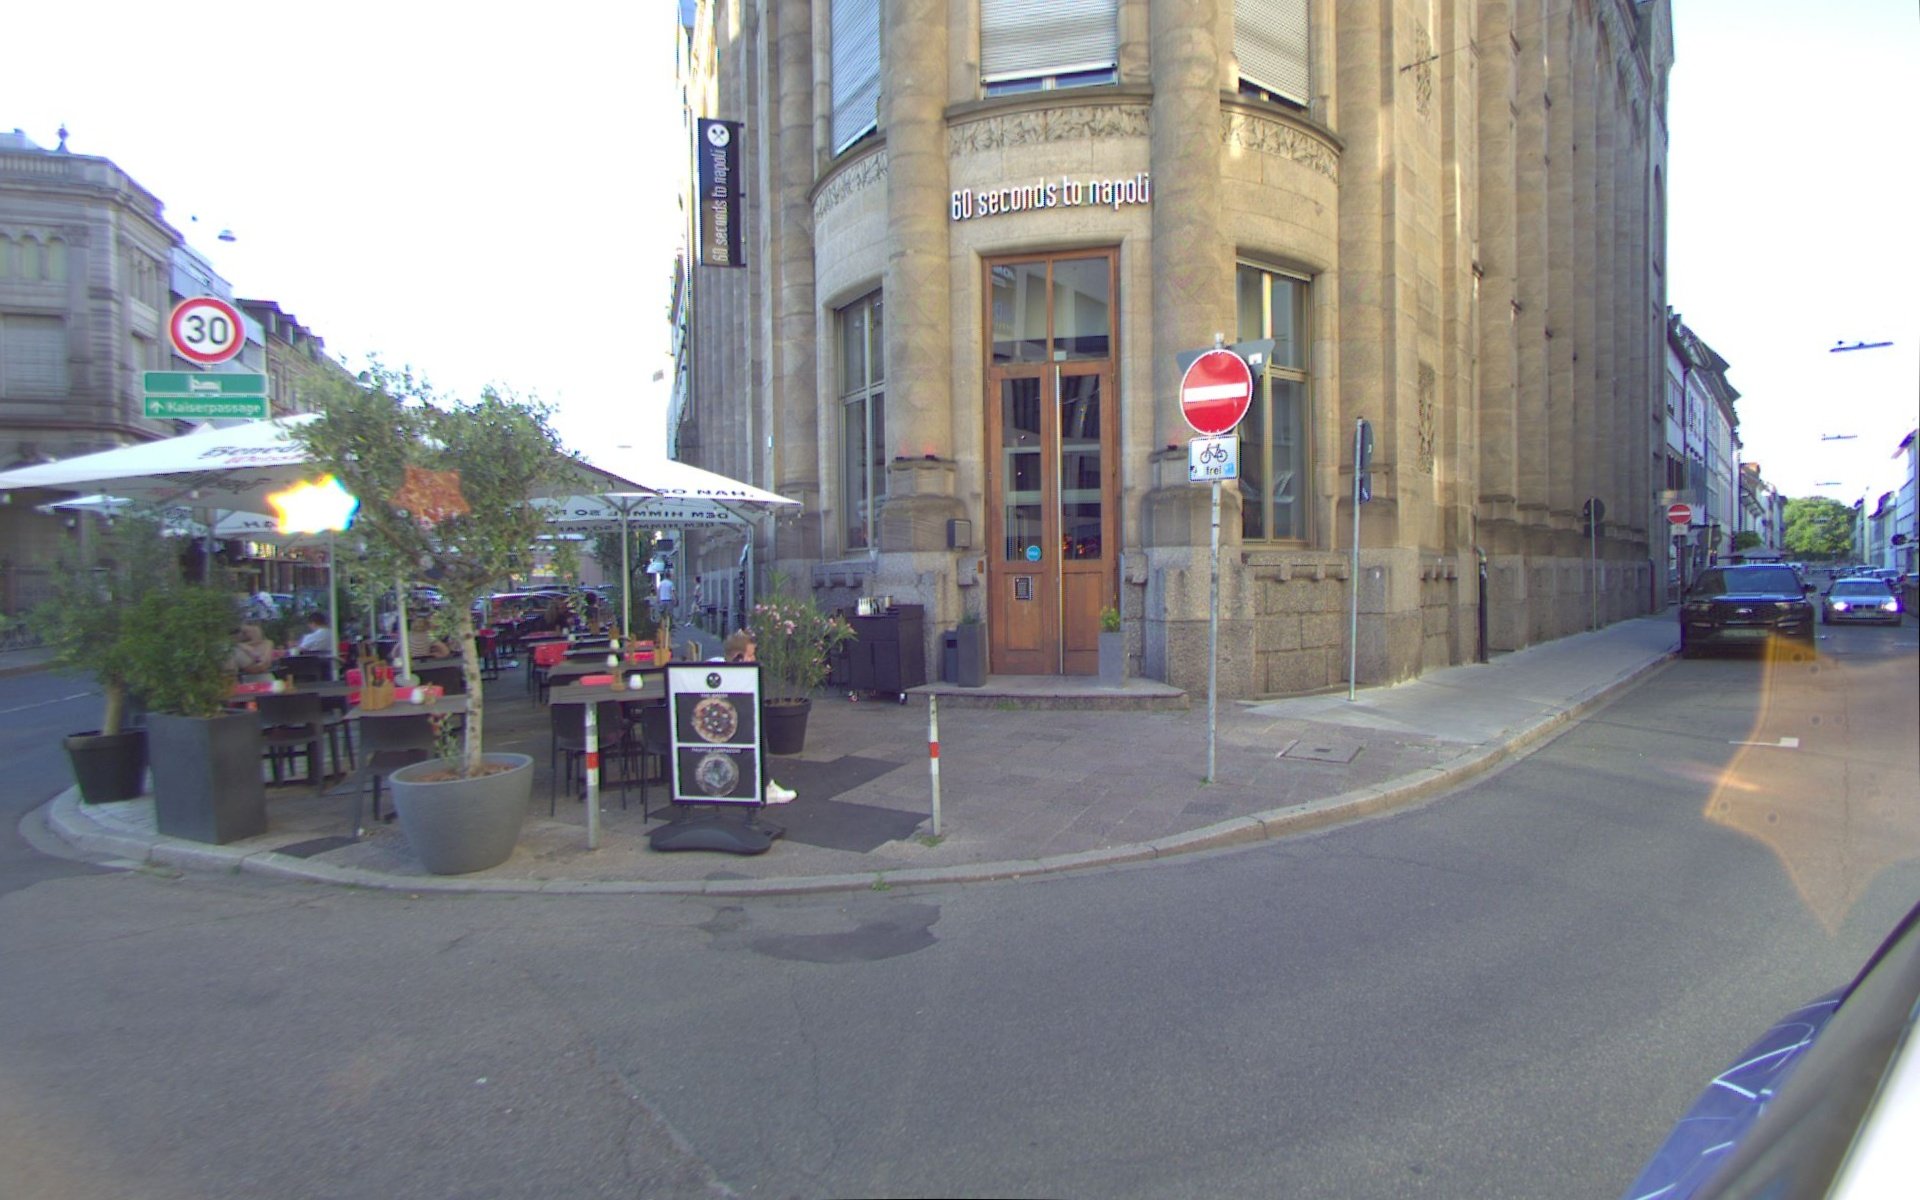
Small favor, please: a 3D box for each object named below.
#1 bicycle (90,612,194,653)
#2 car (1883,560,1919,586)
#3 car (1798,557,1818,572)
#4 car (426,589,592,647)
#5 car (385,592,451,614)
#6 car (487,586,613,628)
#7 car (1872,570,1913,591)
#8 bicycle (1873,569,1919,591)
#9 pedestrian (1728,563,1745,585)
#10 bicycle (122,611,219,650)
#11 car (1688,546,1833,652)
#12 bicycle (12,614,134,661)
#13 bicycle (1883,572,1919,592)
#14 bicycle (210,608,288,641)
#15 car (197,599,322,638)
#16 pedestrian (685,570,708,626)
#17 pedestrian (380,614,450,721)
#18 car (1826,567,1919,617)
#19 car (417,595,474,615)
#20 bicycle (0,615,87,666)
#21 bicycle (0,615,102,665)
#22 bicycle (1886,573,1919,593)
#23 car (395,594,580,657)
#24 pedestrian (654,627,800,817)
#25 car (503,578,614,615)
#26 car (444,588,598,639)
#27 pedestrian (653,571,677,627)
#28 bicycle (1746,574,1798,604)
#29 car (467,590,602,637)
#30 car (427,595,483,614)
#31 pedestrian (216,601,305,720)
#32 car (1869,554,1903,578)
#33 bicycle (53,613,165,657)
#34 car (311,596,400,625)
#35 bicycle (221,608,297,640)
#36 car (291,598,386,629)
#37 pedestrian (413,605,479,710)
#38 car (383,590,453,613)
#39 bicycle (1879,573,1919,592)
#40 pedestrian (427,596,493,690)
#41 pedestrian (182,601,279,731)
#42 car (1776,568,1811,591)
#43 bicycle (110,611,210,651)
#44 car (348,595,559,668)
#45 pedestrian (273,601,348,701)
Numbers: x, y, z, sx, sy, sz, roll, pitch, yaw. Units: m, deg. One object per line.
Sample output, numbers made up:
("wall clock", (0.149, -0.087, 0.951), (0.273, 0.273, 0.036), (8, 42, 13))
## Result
("bicycle", (-24.197, 0.943, 29.972), (2.254, 1.104, 0.718), (-2, 0, -21))
("car", (65.217, -1.877, 69.915), (1.991, 1.697, 4.394), (-1, 0, 40))
("car", (112.951, -4.728, 134.820), (1.991, 1.919, 4.394), (-1, 0, 40))
("car", (-12.915, 0.479, 29.142), (1.746, 1.430, 4.012), (-1, 1, 39))
("car", (-38.952, 0.221, 72.799), (3.916, 1.430, 1.759), (-2, 1, -17))
("car", (-15.433, 0.243, 38.254), (1.746, 1.430, 4.087), (-1, 1, 39))
("car", (68.508, -1.445, 74.393), (1.991, 1.489, 4.394), (-1, 0, 40))
("bicycle", (62.635, -1.331, 67.505), (0.771, 1.347, 2.477), (-2, 1, -43))
("pedestrian", (46.309, -1.541, 60.359), (0.734, 1.258, 0.636), (-2, 0, 43))
("bicycle", (-24.814, 0.938, 31.854), (2.254, 1.104, 0.718), (-2, 0, -21))
("car", (15.644, -0.058, 19.787), (1.990, 1.805, 4.865), (-1, 1, 39))
("bicycle", (-23.043, 0.955, 26.335), (2.254, 1.104, 0.718), (-2, 0, -21))
("bicycle", (58.443, -1.112, 62.171), (0.771, 1.193, 2.477), (-2, 1, -43))
("bicycle", (-26.630, 0.915, 37.924), (2.254, 1.104, 0.718), (-2, 0, -21))
("car", (-29.224, 0.750, 42.350), (3.916, 1.430, 1.759), (-2, 1, -17))
("pedestrian", (-8.439, -0.080, 32.385), (0.585, 1.752, 0.630), (-1, 1, -22))
("pedestrian", (-6.378, 0.771, 11.866), (0.588, 1.204, 0.574), (-1, 0, -14))
("car", (27.962, -0.257, 31.102), (1.991, 1.440, 4.394), (-1, 0, 40))
("car", (-42.037, 0.384, 82.774), (3.916, 1.430, 1.759), (-2, 1, -17))
("bicycle", (-22.002, 0.957, 23.674), (2.254, 1.104, 0.718), (-2, 0, -21))
("bicycle", (-22.304, 0.956, 24.456), (2.254, 1.104, 0.718), (-2, 0, -21))
("bicycle", (59.146, -1.089, 62.745), (0.771, 1.193, 2.477), (-2, 1, -43))
("car", (-12.325, 0.617, 26.607), (1.746, 1.430, 4.050), (-1, 1, 39))
("pedestrian", (-1.635, 0.808, 7.098), (0.807, 1.204, 0.607), (-1, 0, -39))
("car", (-17.346, -0.179, 43.884), (1.746, 1.430, 4.141), (-1, 1, 39))
("car", (-13.837, 0.392, 32.052), (1.746, 1.430, 4.125), (-1, 1, 39))
("pedestrian", (-9.363, -0.048, 32.091), (0.616, 1.752, 0.598), (-1, 1, -24))
("bicycle", (38.986, -0.541, 48.598), (1.868, 1.318, 0.587), (4, 4, 42))
("car", (-14.761, 0.437, 35.268), (1.746, 1.430, 3.975), (-1, 1, 39))
("car", (-42.603, 0.397, 85.414), (3.916, 1.430, 1.759), (-2, 1, -17))
("pedestrian", (-7.747, 0.651, 11.215), (0.681, 1.261, 0.594), (-1, 0, 32))
("car", (82.942, -3.051, 90.693), (1.991, 2.067, 4.394), (-1, 0, 40))
("bicycle", (-23.660, 0.950, 28.190), (2.254, 1.104, 0.718), (-2, 0, -21))
("car", (-33.655, 0.580, 56.481), (3.916, 1.430, 1.759), (-2, 1, -17))
("bicycle", (-26.919, 0.911, 38.910), (2.254, 1.104, 0.718), (-2, 0, -21))
("car", (-32.629, 0.689, 53.263), (3.916, 1.430, 1.759), (-2, 1, -17))
("pedestrian", (-6.444, 0.703, 12.707), (0.588, 1.261, 0.687), (-1, 0, -14))
("car", (-37.627, 0.092, 70.294), (3.925, 1.430, 1.755), (-2, 1, 1))
("bicycle", (60.946, -1.123, 65.229), (0.771, 1.193, 2.477), (-2, 1, -43))
("pedestrian", (-6.971, 0.585, 14.129), (0.589, 1.261, 0.686), (-1, 0, -3))
("pedestrian", (-7.462, 0.653, 10.353), (0.681, 1.261, 0.594), (-1, 0, 32))
("car", (63.940, -1.588, 77.594), (1.991, 1.697, 4.394), (-1, 0, 40))
("bicycle", (-24.504, 0.939, 31.053), (2.254, 1.104, 0.718), (-2, 0, -21))
("car", (-11.699, 0.671, 23.585), (1.746, 1.430, 4.012), (-1, 1, 39))
("pedestrian", (-8.505, 0.648, 13.249), (0.681, 1.261, 0.594), (-1, 0, 32))
